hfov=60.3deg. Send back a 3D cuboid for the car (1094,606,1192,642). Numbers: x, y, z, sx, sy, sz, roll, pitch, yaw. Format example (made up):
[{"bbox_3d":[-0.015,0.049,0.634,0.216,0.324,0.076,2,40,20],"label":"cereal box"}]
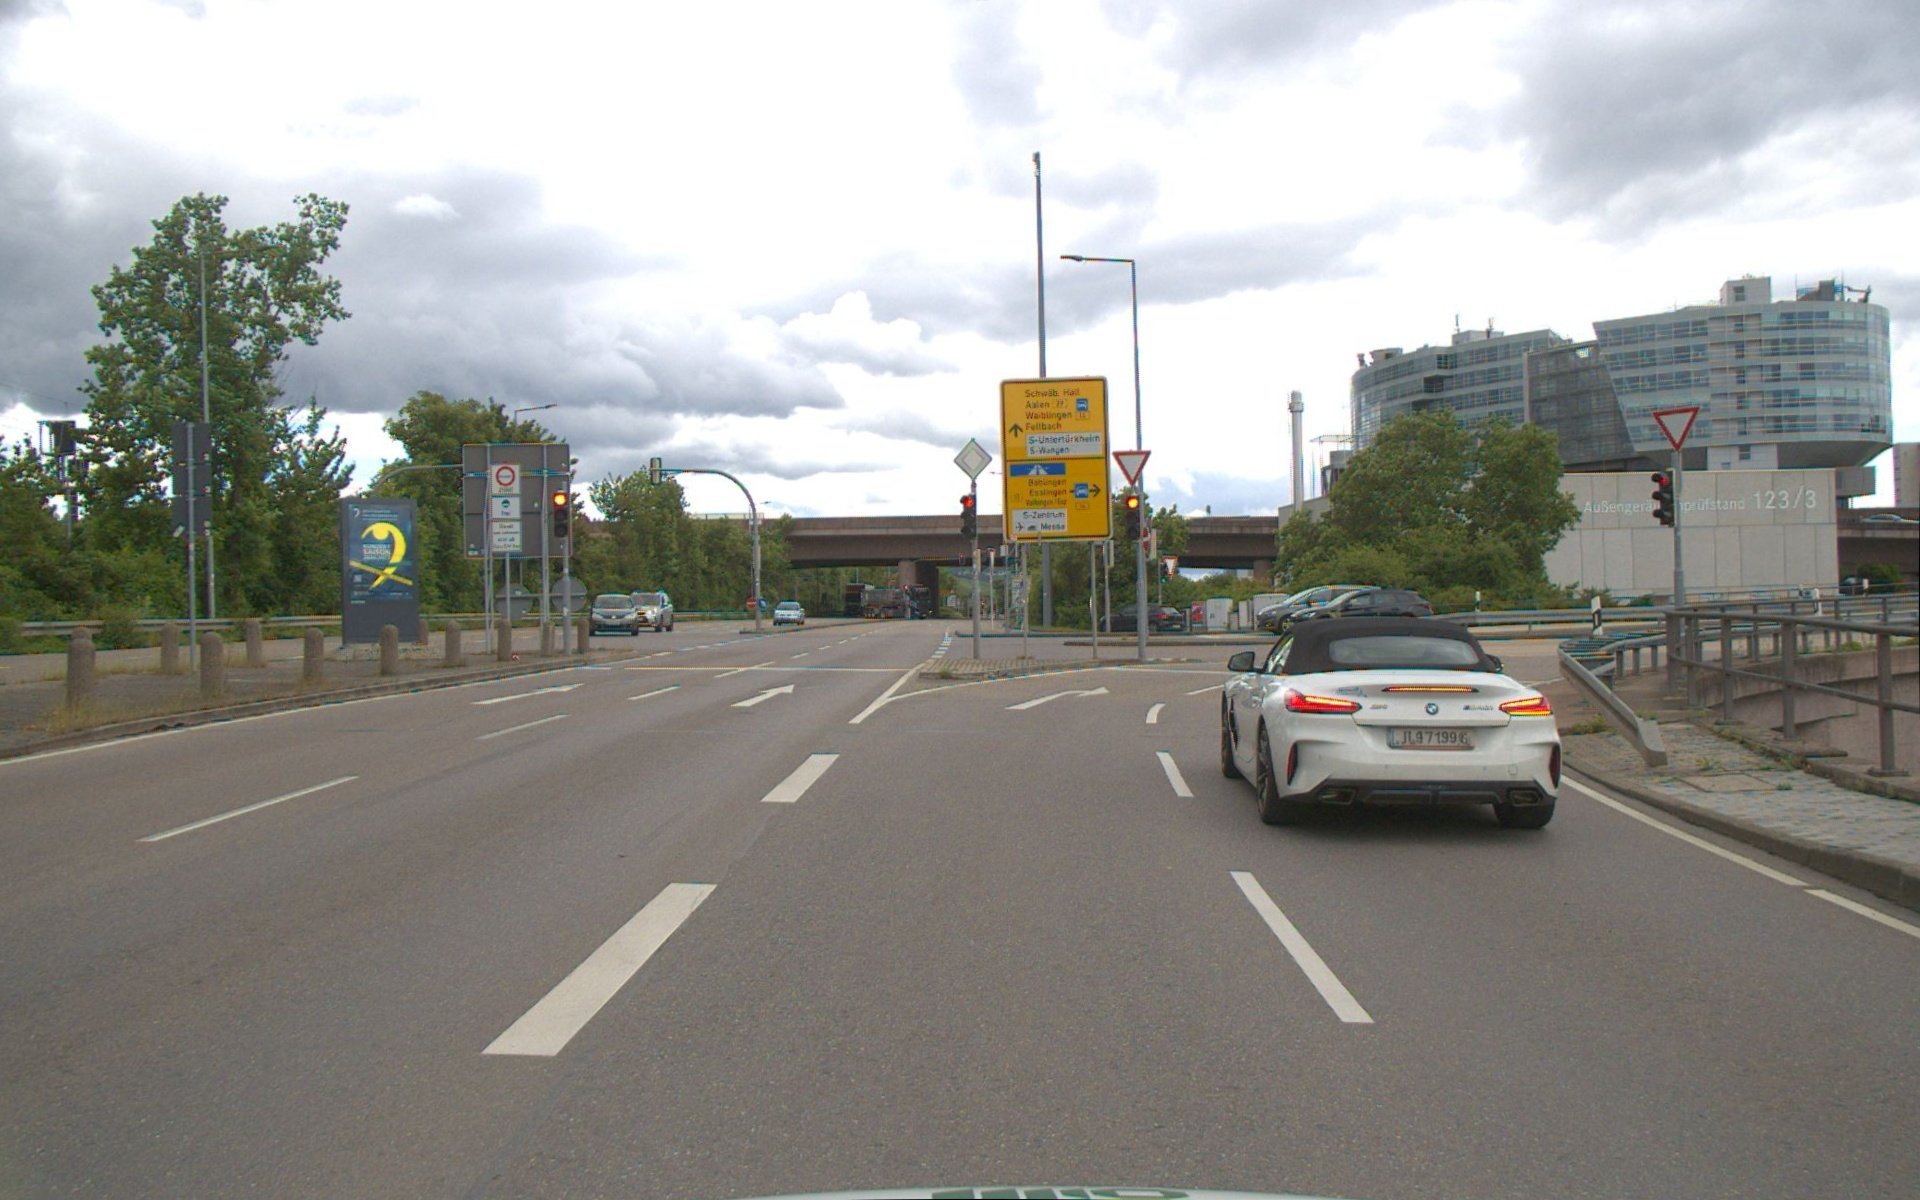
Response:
[{"bbox_3d":[8.013,1.066,72.617,1.982,1.490,4.048,2,-3,-41],"label":"car"}]

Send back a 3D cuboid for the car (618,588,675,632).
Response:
[{"bbox_3d":[-13.260,0.417,70.153,1.690,1.767,4.554,-1,0,-2],"label":"car"}]

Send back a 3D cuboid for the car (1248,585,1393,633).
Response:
[{"bbox_3d":[12.513,0.307,57.537,4.584,1.599,1.955,-1,1,-2],"label":"car"}]

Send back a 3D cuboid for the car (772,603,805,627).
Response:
[{"bbox_3d":[-10.832,0.915,104.731,1.689,1.425,4.066,-1,0,0],"label":"car"}]

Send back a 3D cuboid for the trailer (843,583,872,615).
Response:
[{"bbox_3d":[-13.772,-0.148,223.895,2.812,4.155,11.429,1,0,2],"label":"trailer"}]

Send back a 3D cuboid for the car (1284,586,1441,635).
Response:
[{"bbox_3d":[12.913,0.323,53.197,4.516,1.482,1.954,-1,1,-5],"label":"car"}]

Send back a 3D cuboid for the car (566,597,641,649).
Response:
[{"bbox_3d":[-12.825,0.861,59.366,1.702,1.487,4.209,3,-6,-25],"label":"car"}]

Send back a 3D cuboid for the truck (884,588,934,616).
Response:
[{"bbox_3d":[-5.339,0.189,172.462,2.587,2.669,5.717,3,0,-32],"label":"truck"}]

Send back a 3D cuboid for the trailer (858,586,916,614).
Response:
[{"bbox_3d":[-7.844,-0.040,176.525,2.572,2.669,8.490,3,0,-28],"label":"trailer"}]

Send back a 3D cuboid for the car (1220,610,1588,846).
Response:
[{"bbox_3d":[2.940,0.762,11.846,1.767,1.314,4.265,0,0,4],"label":"car"}]

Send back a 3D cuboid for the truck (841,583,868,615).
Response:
[{"bbox_3d":[-13.912,-0.136,218.330,2.812,4.155,6.488,1,0,1],"label":"truck"}]
